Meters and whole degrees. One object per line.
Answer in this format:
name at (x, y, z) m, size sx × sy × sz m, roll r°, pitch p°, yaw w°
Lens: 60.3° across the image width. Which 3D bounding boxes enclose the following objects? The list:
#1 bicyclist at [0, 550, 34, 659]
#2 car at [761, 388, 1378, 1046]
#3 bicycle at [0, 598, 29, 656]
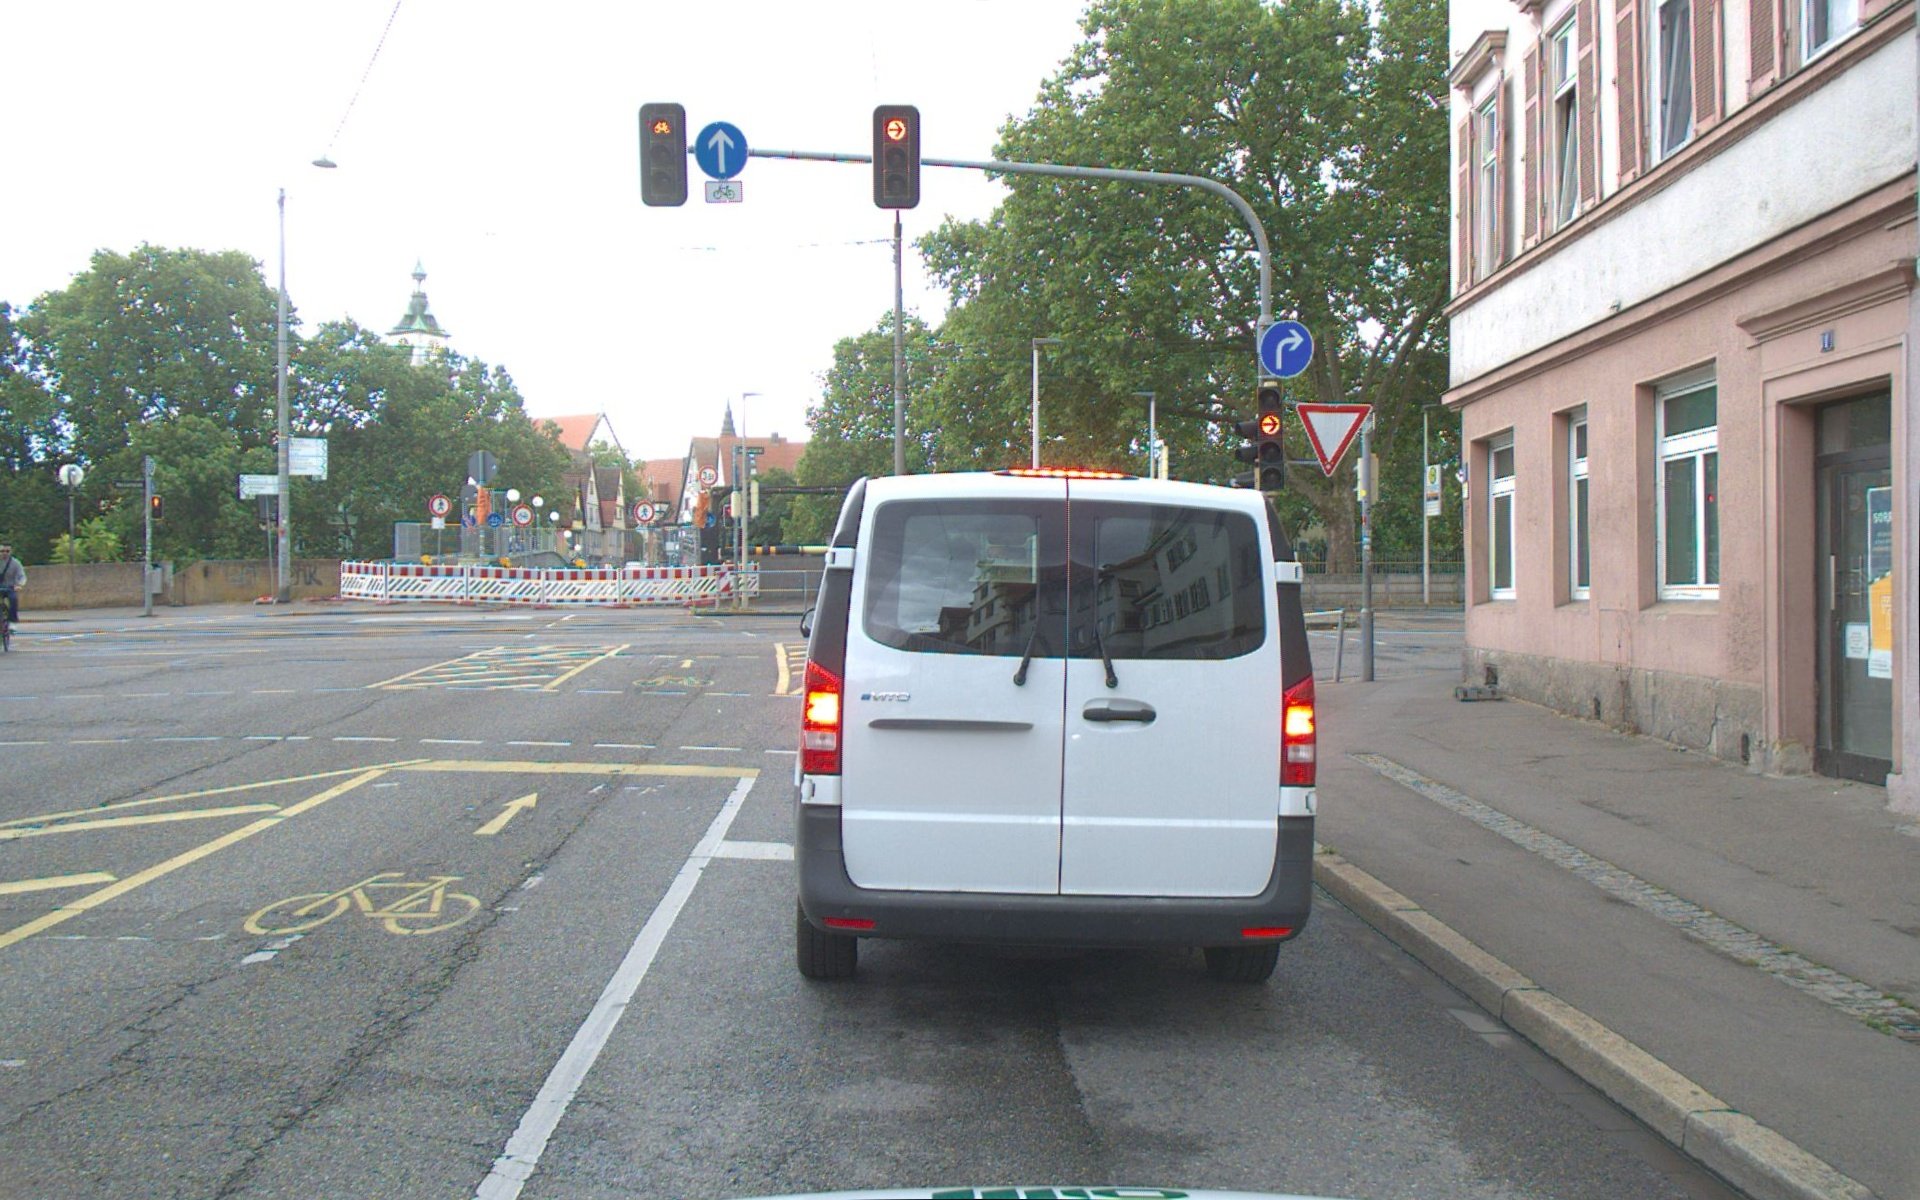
bicyclist at (-15.429, 0.066, 26.799) m, size 0.715 × 1.730 × 0.803 m, roll -1°, pitch 0°, yaw -28°
car at (0.313, 0.310, 7.562) m, size 1.911 × 2.048 × 4.698 m, roll 1°, pitch 2°, yaw -1°
bicycle at (-15.515, 0.423, 26.977) m, size 0.535 × 0.908 × 1.862 m, roll -1°, pitch 1°, yaw -29°
